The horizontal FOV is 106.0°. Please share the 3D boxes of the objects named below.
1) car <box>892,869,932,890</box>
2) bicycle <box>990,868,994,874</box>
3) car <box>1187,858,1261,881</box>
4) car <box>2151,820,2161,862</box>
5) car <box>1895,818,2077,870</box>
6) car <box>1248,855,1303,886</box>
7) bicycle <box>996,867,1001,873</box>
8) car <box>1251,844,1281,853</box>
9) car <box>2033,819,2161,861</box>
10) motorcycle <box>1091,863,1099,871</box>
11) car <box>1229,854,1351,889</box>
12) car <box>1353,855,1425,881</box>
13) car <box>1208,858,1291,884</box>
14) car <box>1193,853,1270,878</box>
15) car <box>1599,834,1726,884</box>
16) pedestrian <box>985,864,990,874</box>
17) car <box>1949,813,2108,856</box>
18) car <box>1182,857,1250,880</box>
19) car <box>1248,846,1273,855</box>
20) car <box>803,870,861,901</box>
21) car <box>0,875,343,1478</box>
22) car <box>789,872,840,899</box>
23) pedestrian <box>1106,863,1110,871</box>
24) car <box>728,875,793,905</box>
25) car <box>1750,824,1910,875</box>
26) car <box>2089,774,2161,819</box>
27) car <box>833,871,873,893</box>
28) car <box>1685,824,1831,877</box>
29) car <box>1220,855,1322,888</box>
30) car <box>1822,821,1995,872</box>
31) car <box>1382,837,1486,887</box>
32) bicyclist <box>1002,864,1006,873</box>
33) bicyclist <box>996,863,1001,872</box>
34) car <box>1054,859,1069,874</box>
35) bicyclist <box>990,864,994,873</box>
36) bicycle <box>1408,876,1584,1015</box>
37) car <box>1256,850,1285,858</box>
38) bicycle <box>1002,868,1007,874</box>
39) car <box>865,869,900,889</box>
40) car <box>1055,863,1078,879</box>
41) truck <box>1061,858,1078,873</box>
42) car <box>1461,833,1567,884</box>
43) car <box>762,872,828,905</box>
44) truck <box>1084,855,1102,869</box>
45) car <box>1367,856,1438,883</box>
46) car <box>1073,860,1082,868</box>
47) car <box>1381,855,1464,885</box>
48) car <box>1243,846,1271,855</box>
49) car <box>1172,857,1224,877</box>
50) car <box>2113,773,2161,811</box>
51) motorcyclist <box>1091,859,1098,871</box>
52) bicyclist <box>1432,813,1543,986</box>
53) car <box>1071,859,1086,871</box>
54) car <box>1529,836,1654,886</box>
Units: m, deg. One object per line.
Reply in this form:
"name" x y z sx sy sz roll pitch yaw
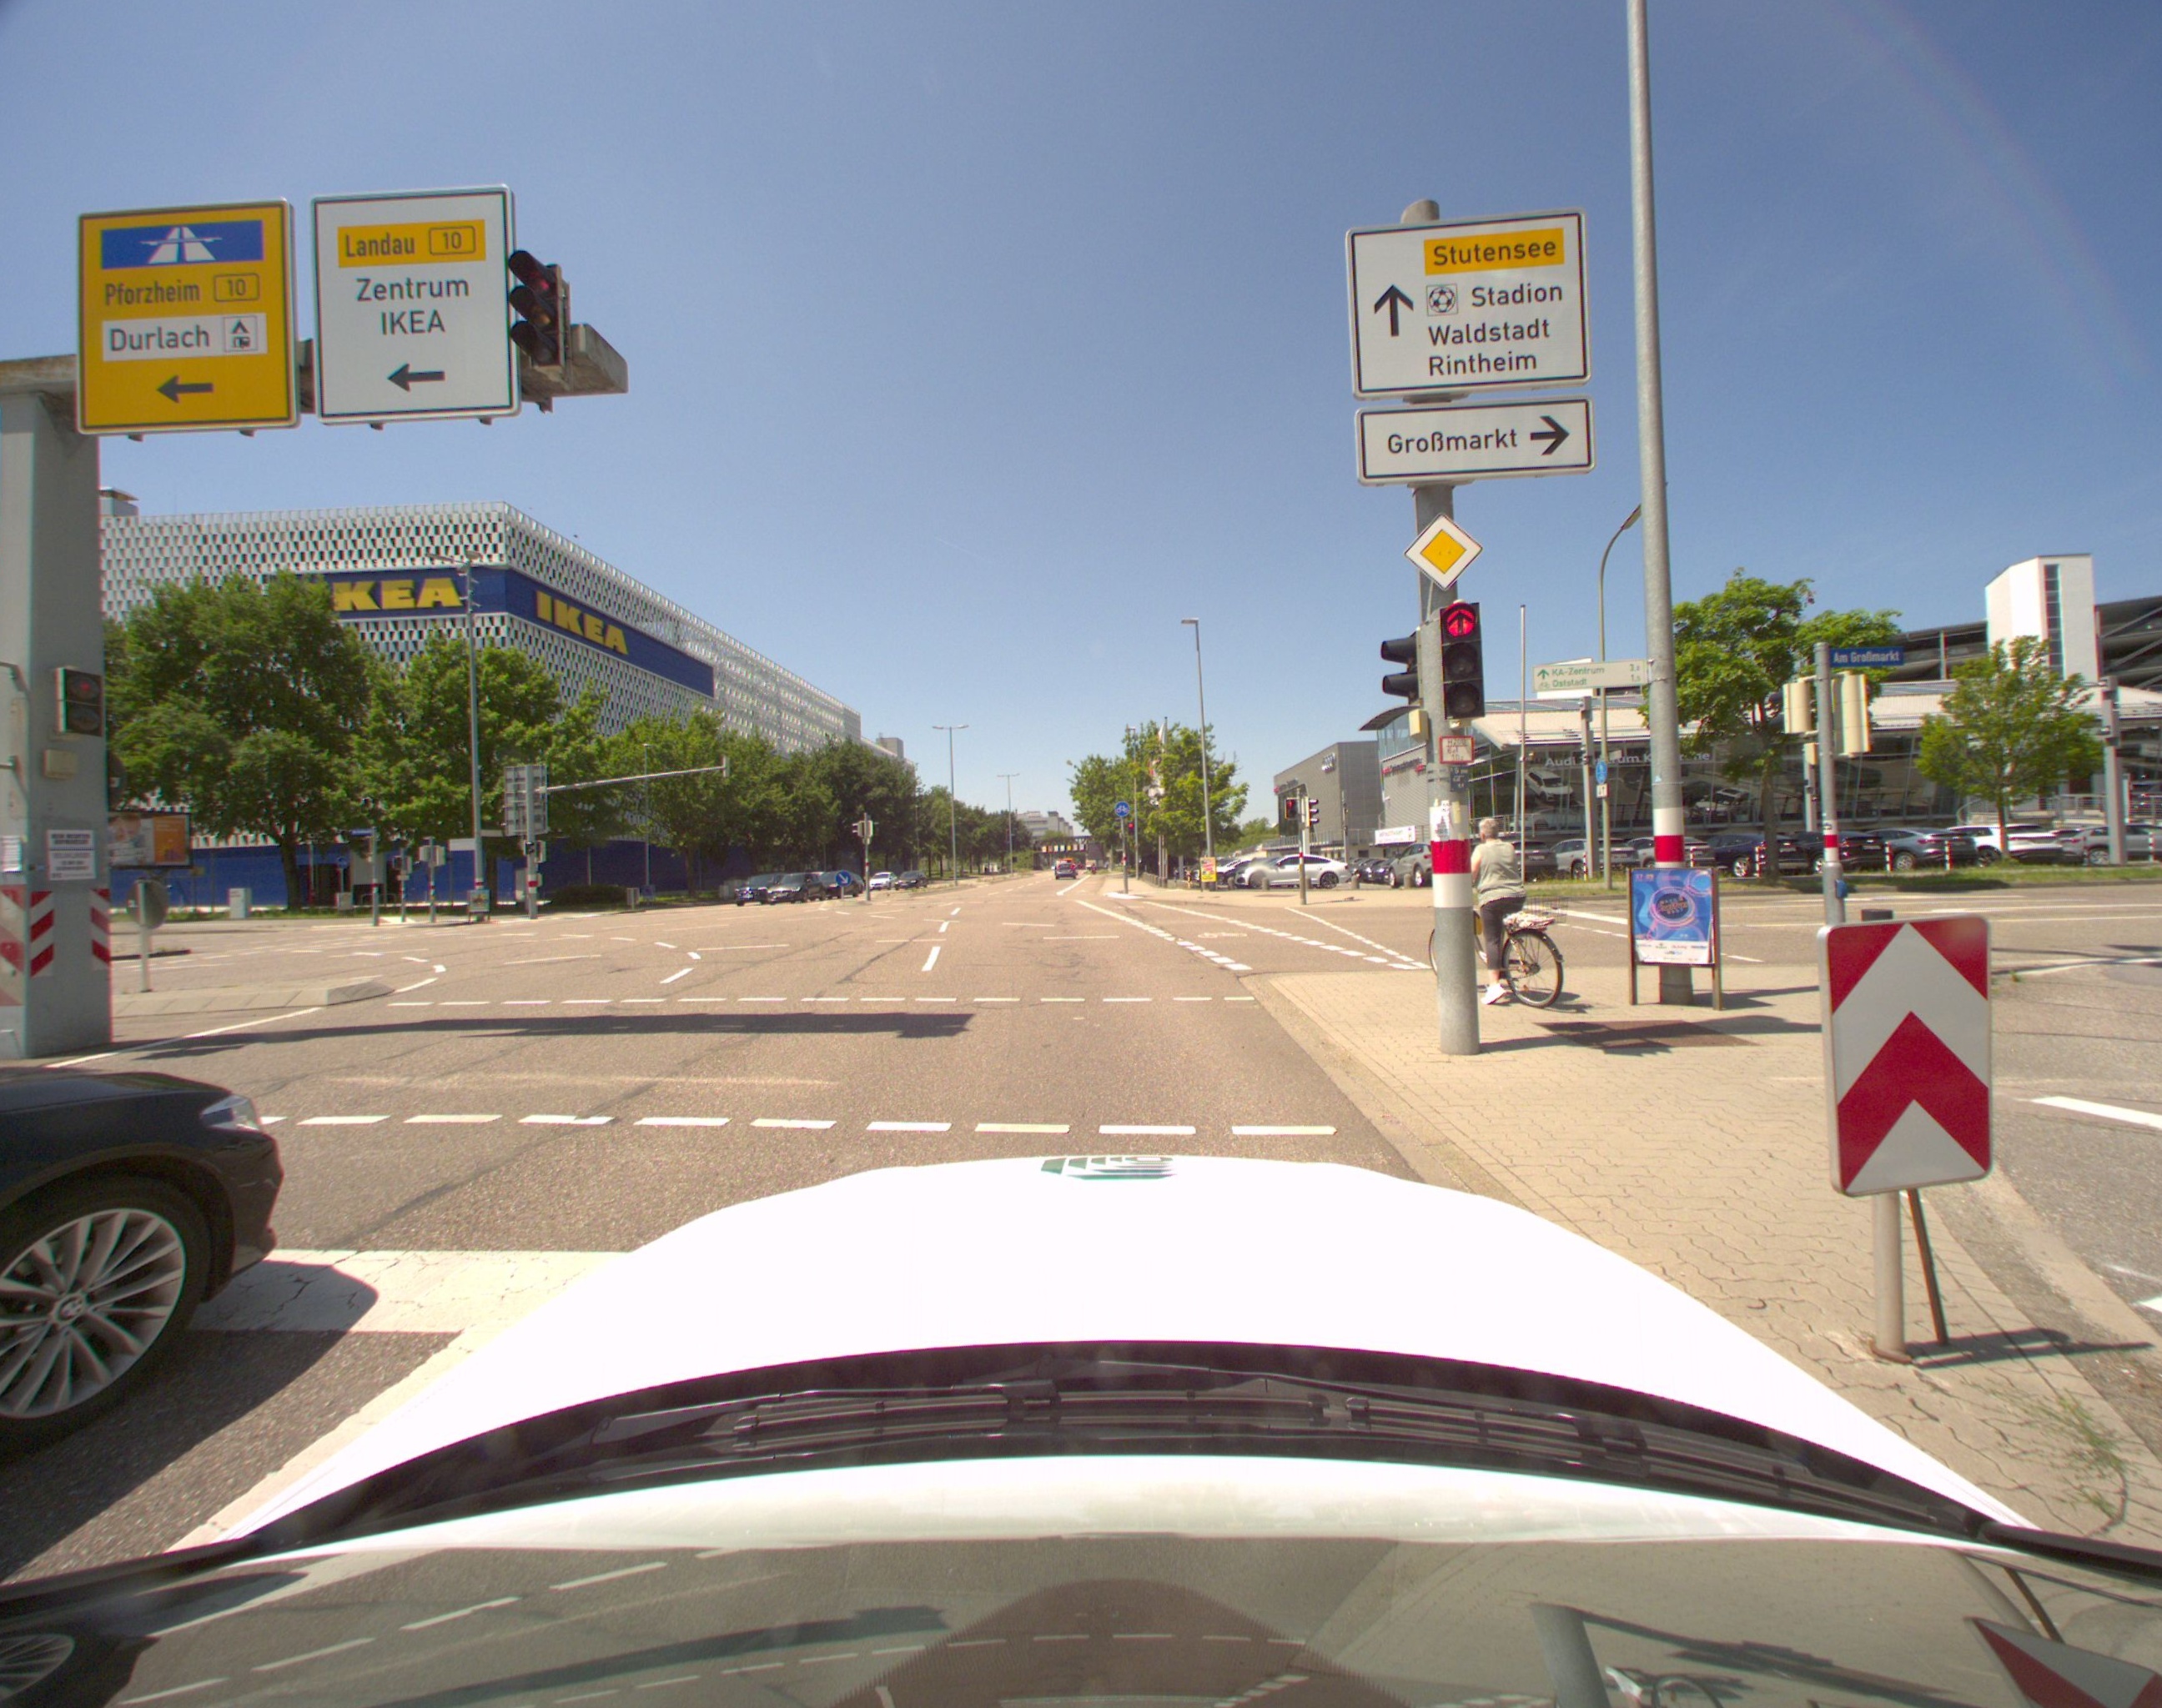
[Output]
"car" -13.060 1.972 63.137 1.718 1.446 4.725 -4 -1 4
"bicycle" -16.825 3.258 153.534 0.636 1.134 1.966 -2 -1 -5
"car" 8.580 0.930 49.157 4.210 1.390 1.869 0 -1 1
"car" 39.434 -0.529 26.902 4.558 1.471 1.861 -3 -1 26
"car" 31.193 -0.303 28.273 1.840 1.654 3.994 0 -1 -2
"car" 9.380 0.786 39.684 1.855 1.420 4.667 0 -1 4
"bicycle" -15.891 3.089 157.059 0.737 1.125 2.434 -2 -1 1
"car" 27.272 -0.872 120.098 3.930 1.211 1.715 -1 -1 -3
"car" 39.634 -0.556 30.652 4.531 1.471 1.925 -3 -1 26
"motorcycle" 1.778 1.678 106.062 0.716 1.105 1.825 -1 -1 -8
"car" 8.447 0.707 33.188 4.572 1.390 1.871 0 -1 3
"car" 19.336 0.863 51.267 3.967 1.573 1.634 0 -1 1
"car" 8.946 0.886 43.545 4.081 1.364 1.875 0 -1 1
"car" 8.517 0.648 46.406 4.084 1.349 1.869 0 -1 1
"car" 20.191 0.141 28.478 1.632 1.616 3.815 -1 1 -2
"pedestrian" -18.452 3.028 161.039 0.741 1.884 0.578 -2 -1 2
"car" 39.764 -0.783 34.321 3.947 1.571 1.862 -3 -1 31
"car" 8.598 0.911 52.101 4.085 1.405 1.869 0 -1 1
"car" 27.433 -0.505 124.436 3.515 1.239 1.675 0 -1 -3
"car" -13.839 1.728 45.495 1.720 1.505 4.245 -4 -1 2
"car" -3.546 0.802 0.594 1.791 1.440 4.557 -2 0 1
"car" -16.675 1.936 51.176 1.720 1.544 3.916 -3 -1 2
"pedestrian" 4.586 2.180 139.057 0.621 1.374 0.564 -2 -1 0
"car" -16.817 1.875 42.922 1.654 1.424 4.039 -3 -1 2
"car" 25.850 -0.118 28.317 1.840 1.654 3.994 0 -1 -2
"car" 45.735 -2.477 34.038 4.552 1.707 1.916 -2 -1 4
"car" -16.500 2.000 59.189 1.643 1.486 3.916 -3 -1 2
"car" 23.134 -0.089 28.036 1.624 1.654 3.907 -1 -1 -2
"car" 8.249 0.747 35.599 4.081 1.390 1.869 0 -1 1
"car" 28.468 -0.213 28.221 1.840 1.654 3.994 0 -1 -2
"car" 12.376 0.333 28.926 1.860 1.558 4.506 -3 -2 3
"bicyclist" -15.927 2.993 168.713 0.631 1.629 1.045 -4 -1 1
"bicyclist" -15.912 2.540 156.949 0.742 1.686 0.952 -2 -1 1
"car" -2.781 1.787 116.291 1.986 2.014 4.000 -2 -1 1
"bicyclist" -16.843 2.763 153.490 0.636 1.582 0.883 -2 -1 -6
"bicycle" 3.984 0.817 8.008 0.627 1.133 1.891 -1 0 -5
"car" 26.960 0.039 115.910 3.716 1.130 1.682 0 -1 -3
"bicycle" -15.890 3.473 168.780 0.627 1.159 2.118 -4 -1 1
"car" -16.296 2.057 66.973 1.737 1.486 4.001 -3 -1 2
"car" -1.289 1.526 73.947 1.894 1.376 4.232 -2 -1 1
"truck" -1.939 1.959 134.885 2.449 2.410 7.136 0 0 2
"car" 15.037 0.210 28.522 1.836 1.654 4.003 0 -2 5
"car" -13.723 1.640 39.307 1.637 1.389 3.717 -4 -1 2
"truck" 2.525 1.686 167.992 2.598 2.850 5.631 -1 -1 11
"car" 19.192 0.897 48.697 3.634 1.580 1.643 0 -1 1
"car" -0.823 2.608 215.205 1.984 2.013 4.005 -3 -1 5
"car" 19.026 0.879 45.448 3.970 1.622 1.657 0 -1 1
"car" 27.847 -0.509 128.924 3.977 1.312 1.795 0 -1 -3
"car" 8.648 0.990 60.258 3.668 1.453 1.834 0 -1 1
"car" 53.711 -3.118 39.476 1.905 1.722 4.142 -2 0 -5
"motorcyclist" 1.761 1.477 106.128 0.719 1.529 0.868 0 -1 -8
"bicyclist" 3.978 0.426 8.025 0.627 1.606 0.824 0 -1 -5
"car" -0.283 1.326 101.357 1.737 1.396 3.530 -1 0 2
"car" 17.881 0.250 28.769 1.840 1.654 3.994 0 -1 -2
